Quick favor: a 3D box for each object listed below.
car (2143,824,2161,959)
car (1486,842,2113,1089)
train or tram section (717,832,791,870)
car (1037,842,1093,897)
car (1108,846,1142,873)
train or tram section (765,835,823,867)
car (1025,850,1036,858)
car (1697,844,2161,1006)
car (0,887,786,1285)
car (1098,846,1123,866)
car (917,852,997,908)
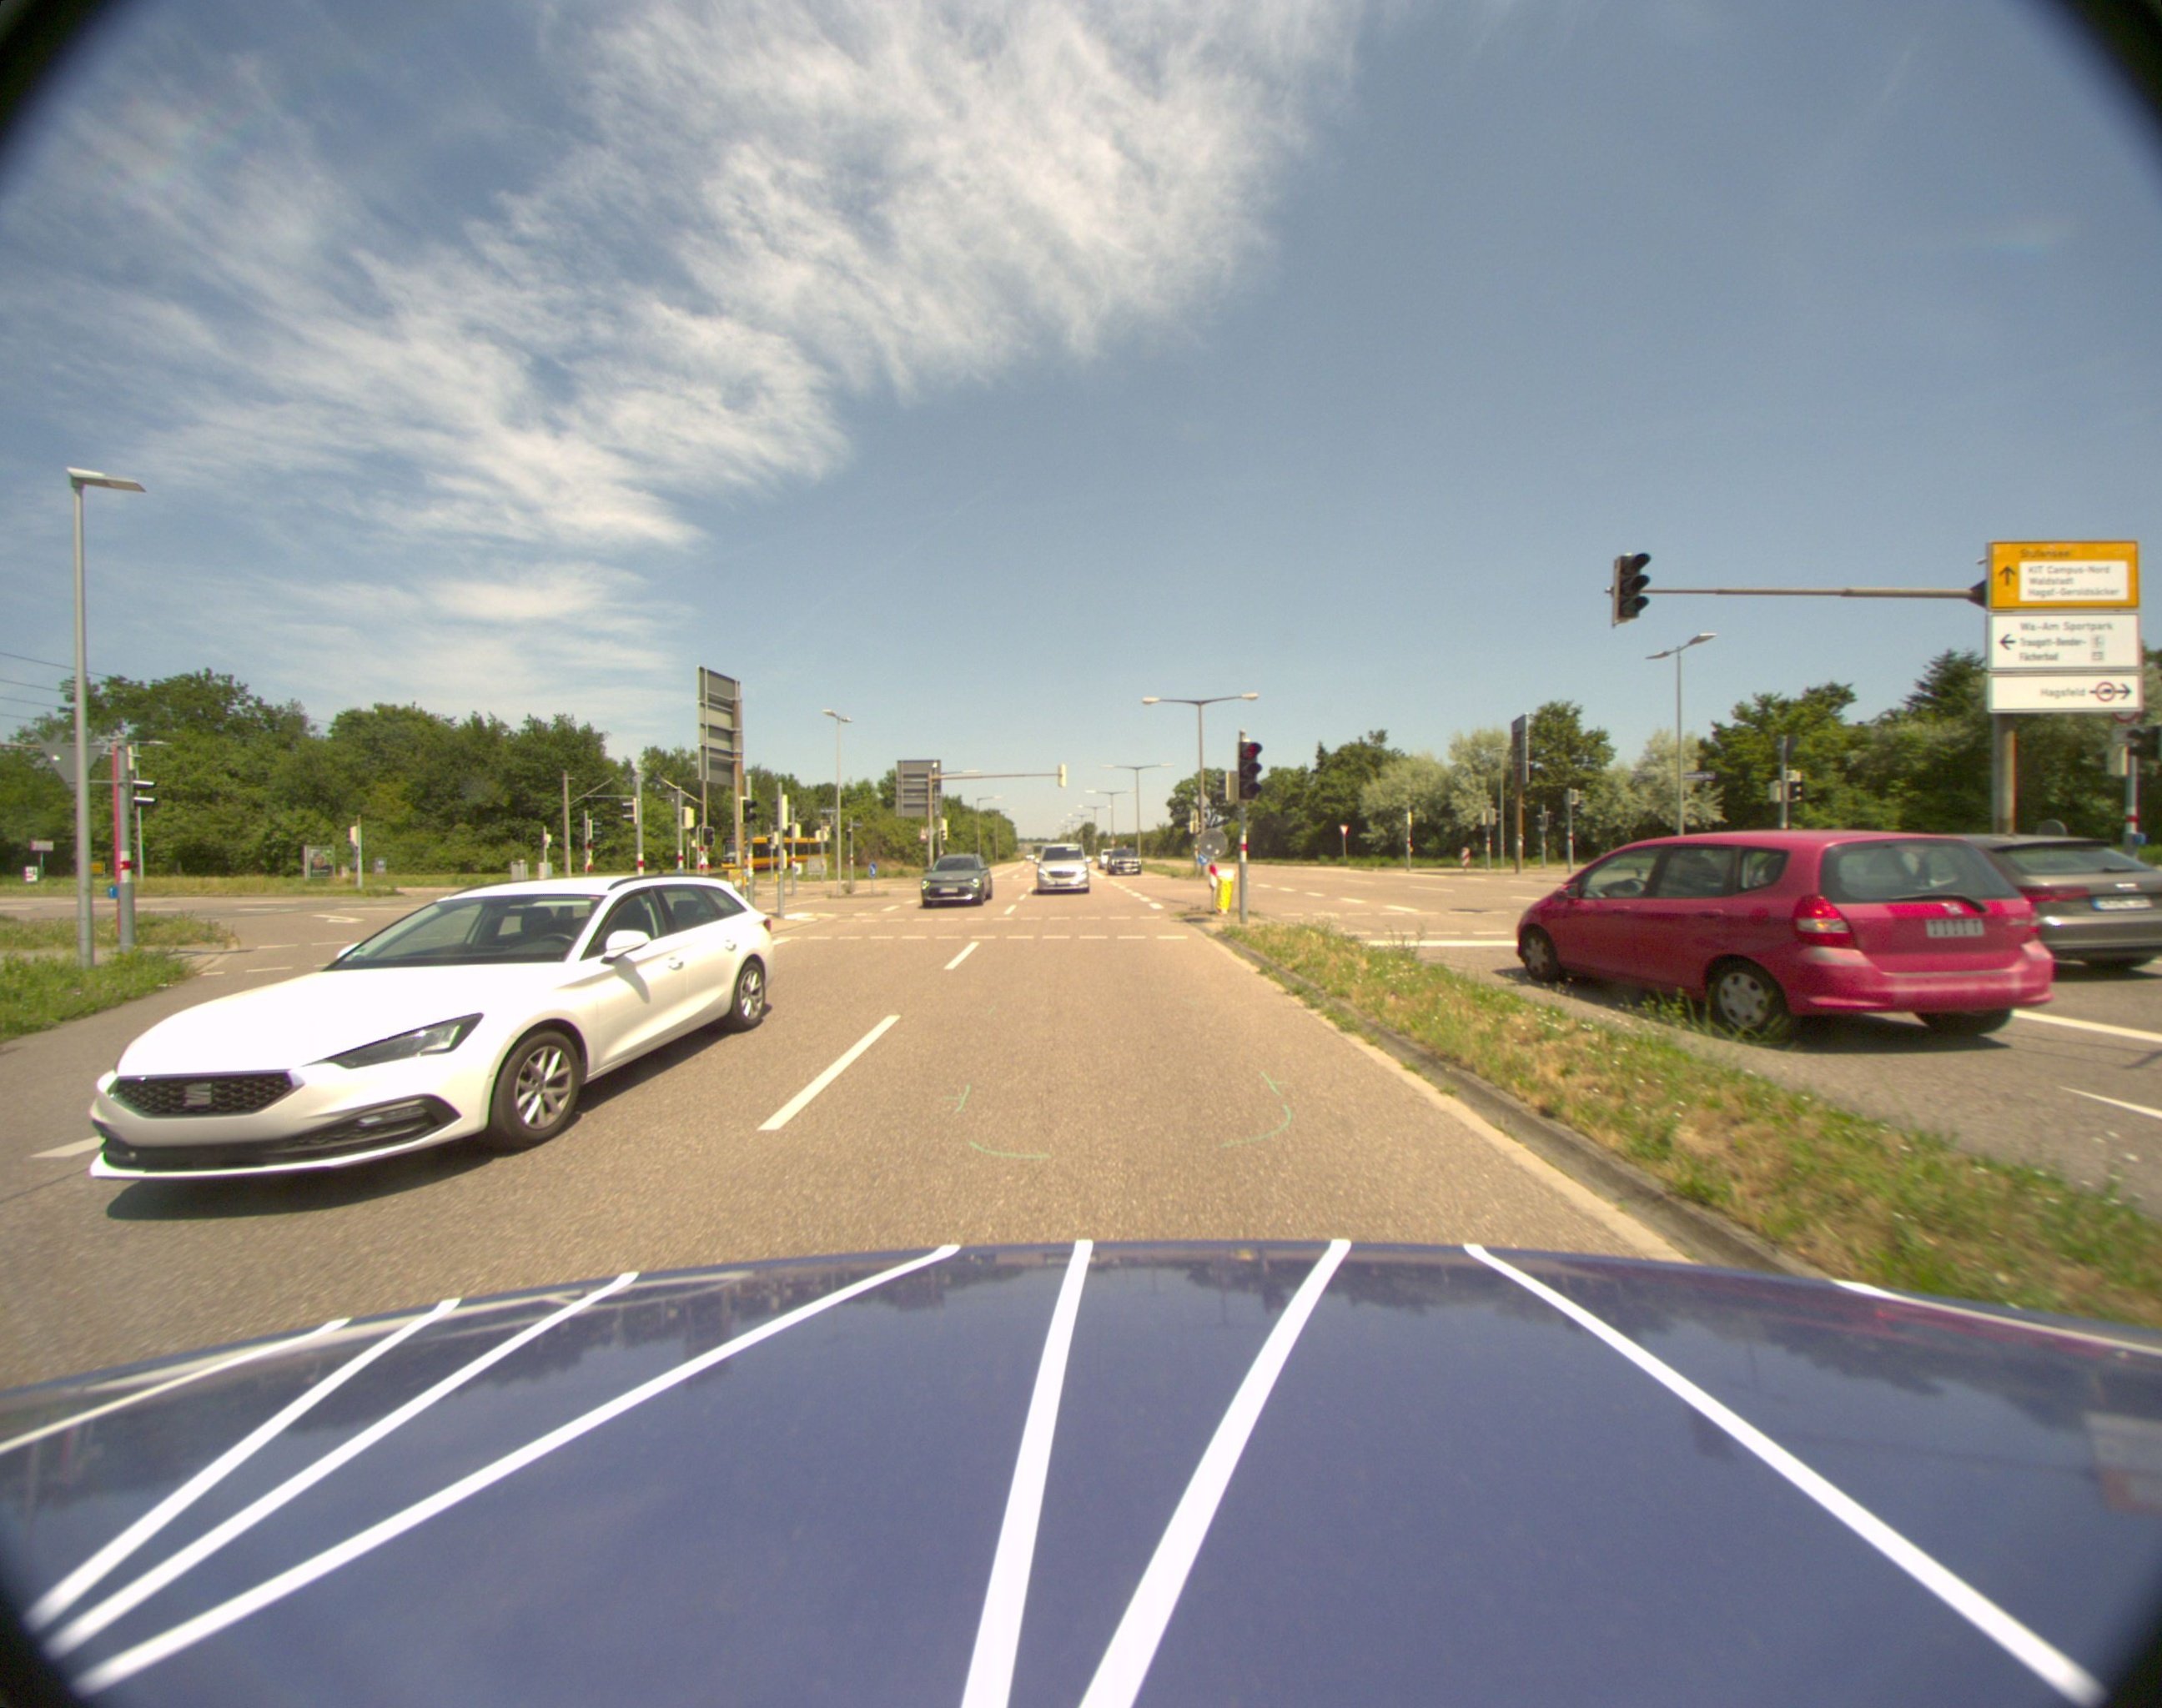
[{"bbox_3d":[13.116,0.405,6.774,1.663,1.530,3.999,-2,0,-1],"label":"car"},{"bbox_3d":[5.478,0.676,6.652,1.663,1.482,3.999,-1,0,-1],"label":"car"},{"bbox_3d":[-33.503,-0.310,78.597,2.822,3.561,12.496,-1,0,-3],"label":"train or tram section"},{"bbox_3d":[-0.528,0.512,28.929,1.876,1.866,5.731,-1,0,0],"label":"car"},{"bbox_3d":[2.815,0.342,49.514,1.785,1.658,4.530,-1,0,-1],"label":"car"},{"bbox_3d":[-34.207,-0.367,91.175,2.822,3.561,12.496,-1,0,-3],"label":"train or tram section"},{"bbox_3d":[-10.637,0.084,161.148,1.998,1.652,4.000,-1,0,2],"label":"car"},{"bbox_3d":[9.494,0.614,8.676,1.601,1.377,4.002,-2,0,-1],"label":"car"},{"bbox_3d":[-3.794,1.048,5.331,1.686,1.381,4.450,-1,0,0],"label":"car"},{"bbox_3d":[2.521,0.146,65.658,1.922,1.661,4.000,-1,1,-2],"label":"car"},{"bbox_3d":[-3.784,0.756,23.813,1.723,1.587,4.000,0,0,1],"label":"car"}]
